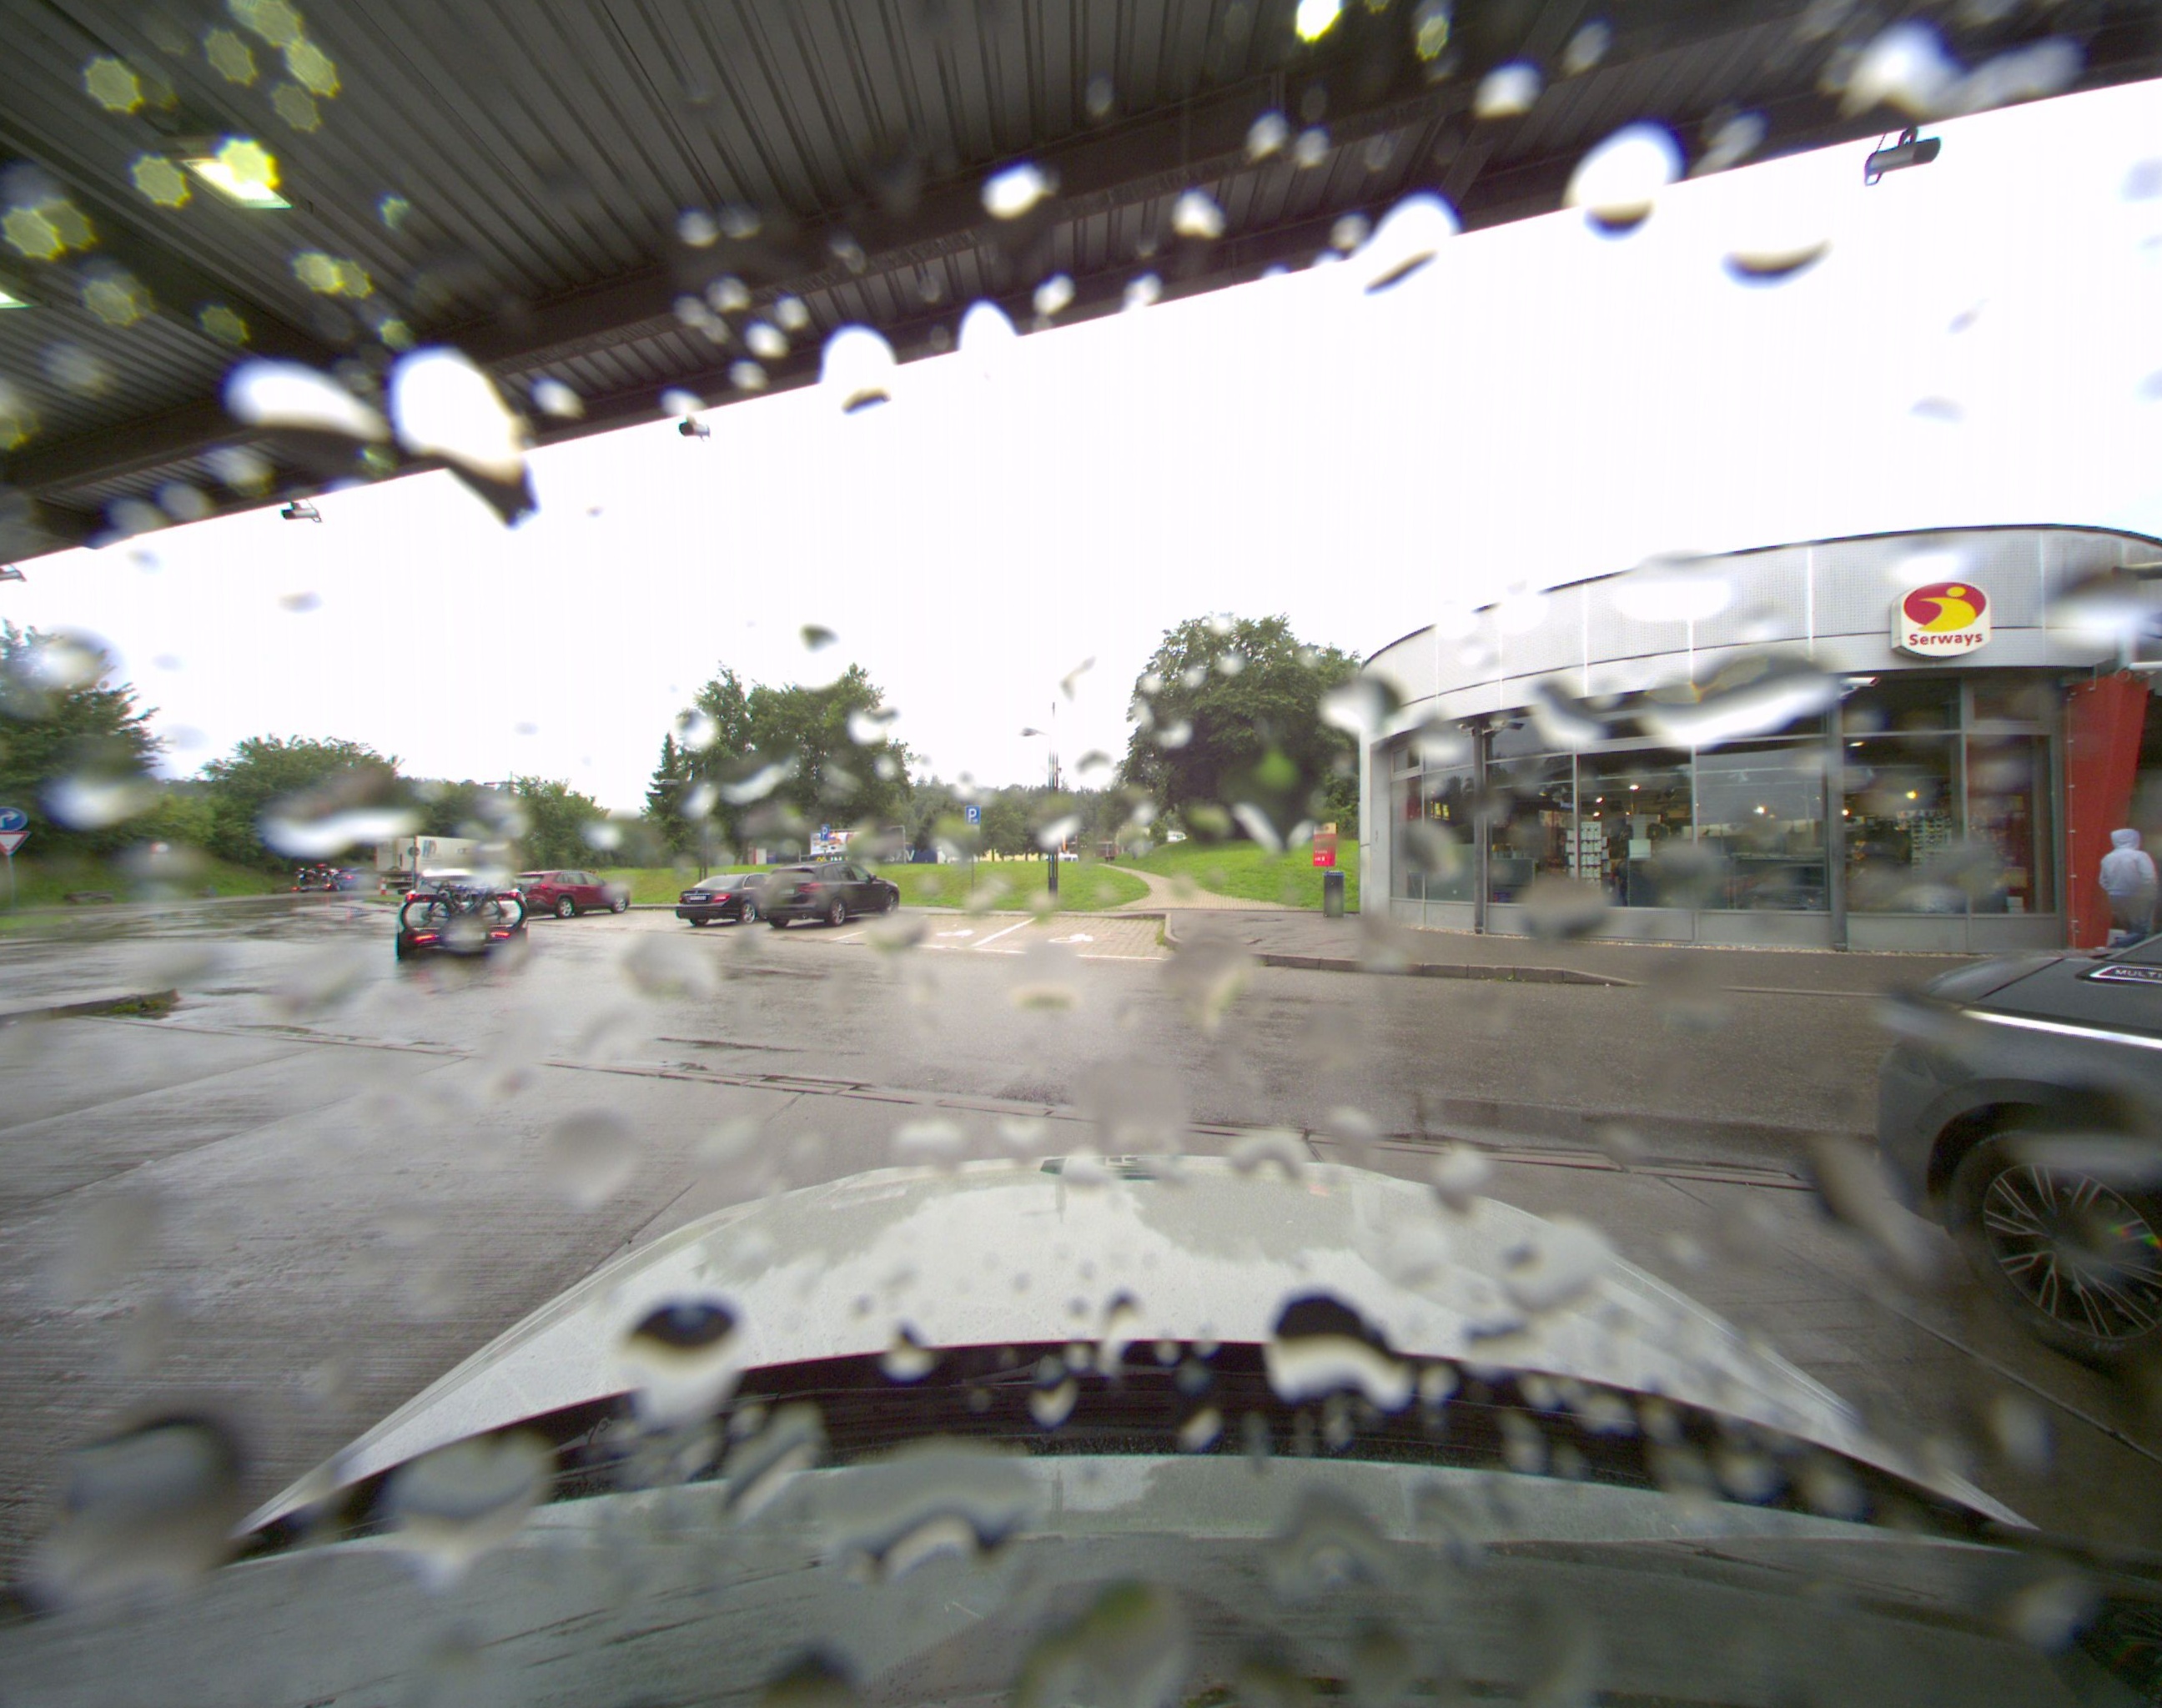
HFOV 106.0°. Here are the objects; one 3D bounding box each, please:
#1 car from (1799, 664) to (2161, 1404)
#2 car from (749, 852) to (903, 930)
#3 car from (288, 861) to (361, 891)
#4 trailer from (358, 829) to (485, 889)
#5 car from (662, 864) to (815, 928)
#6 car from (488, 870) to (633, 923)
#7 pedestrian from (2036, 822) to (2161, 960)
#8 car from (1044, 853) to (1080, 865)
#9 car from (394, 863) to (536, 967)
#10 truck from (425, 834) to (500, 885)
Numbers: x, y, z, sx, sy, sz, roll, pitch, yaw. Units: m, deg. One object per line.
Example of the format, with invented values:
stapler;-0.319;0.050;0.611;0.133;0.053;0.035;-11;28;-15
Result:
car;3.714;0.468;1.227;1.809;1.948;4.002;-1;0;2
car;-6.617;0.889;21.739;1.871;1.828;4.429;-2;0;13
car;-49.237;1.377;53.123;1.934;1.838;4.361;-1;0;-20
trailer;-54.885;0.434;68.481;3.466;4.557;13.827;0;-1;-18
car;-9.618;1.139;23.296;1.871;1.565;4.200;-2;0;13
car;-18.138;1.419;28.672;1.873;1.596;4.364;-2;0;8
pedestrian;12.052;0.421;9.571;0.880;1.550;0.665;-2;0;31
car;-3.177;0.807;134.076;5.376;2.013;2.468;-1;0;21
car;-11.387;0.975;15.096;1.828;1.565;4.947;0;0;-38
truck;-57.107;0.508;75.421;3.467;4.557;6.694;0;-1;-18
